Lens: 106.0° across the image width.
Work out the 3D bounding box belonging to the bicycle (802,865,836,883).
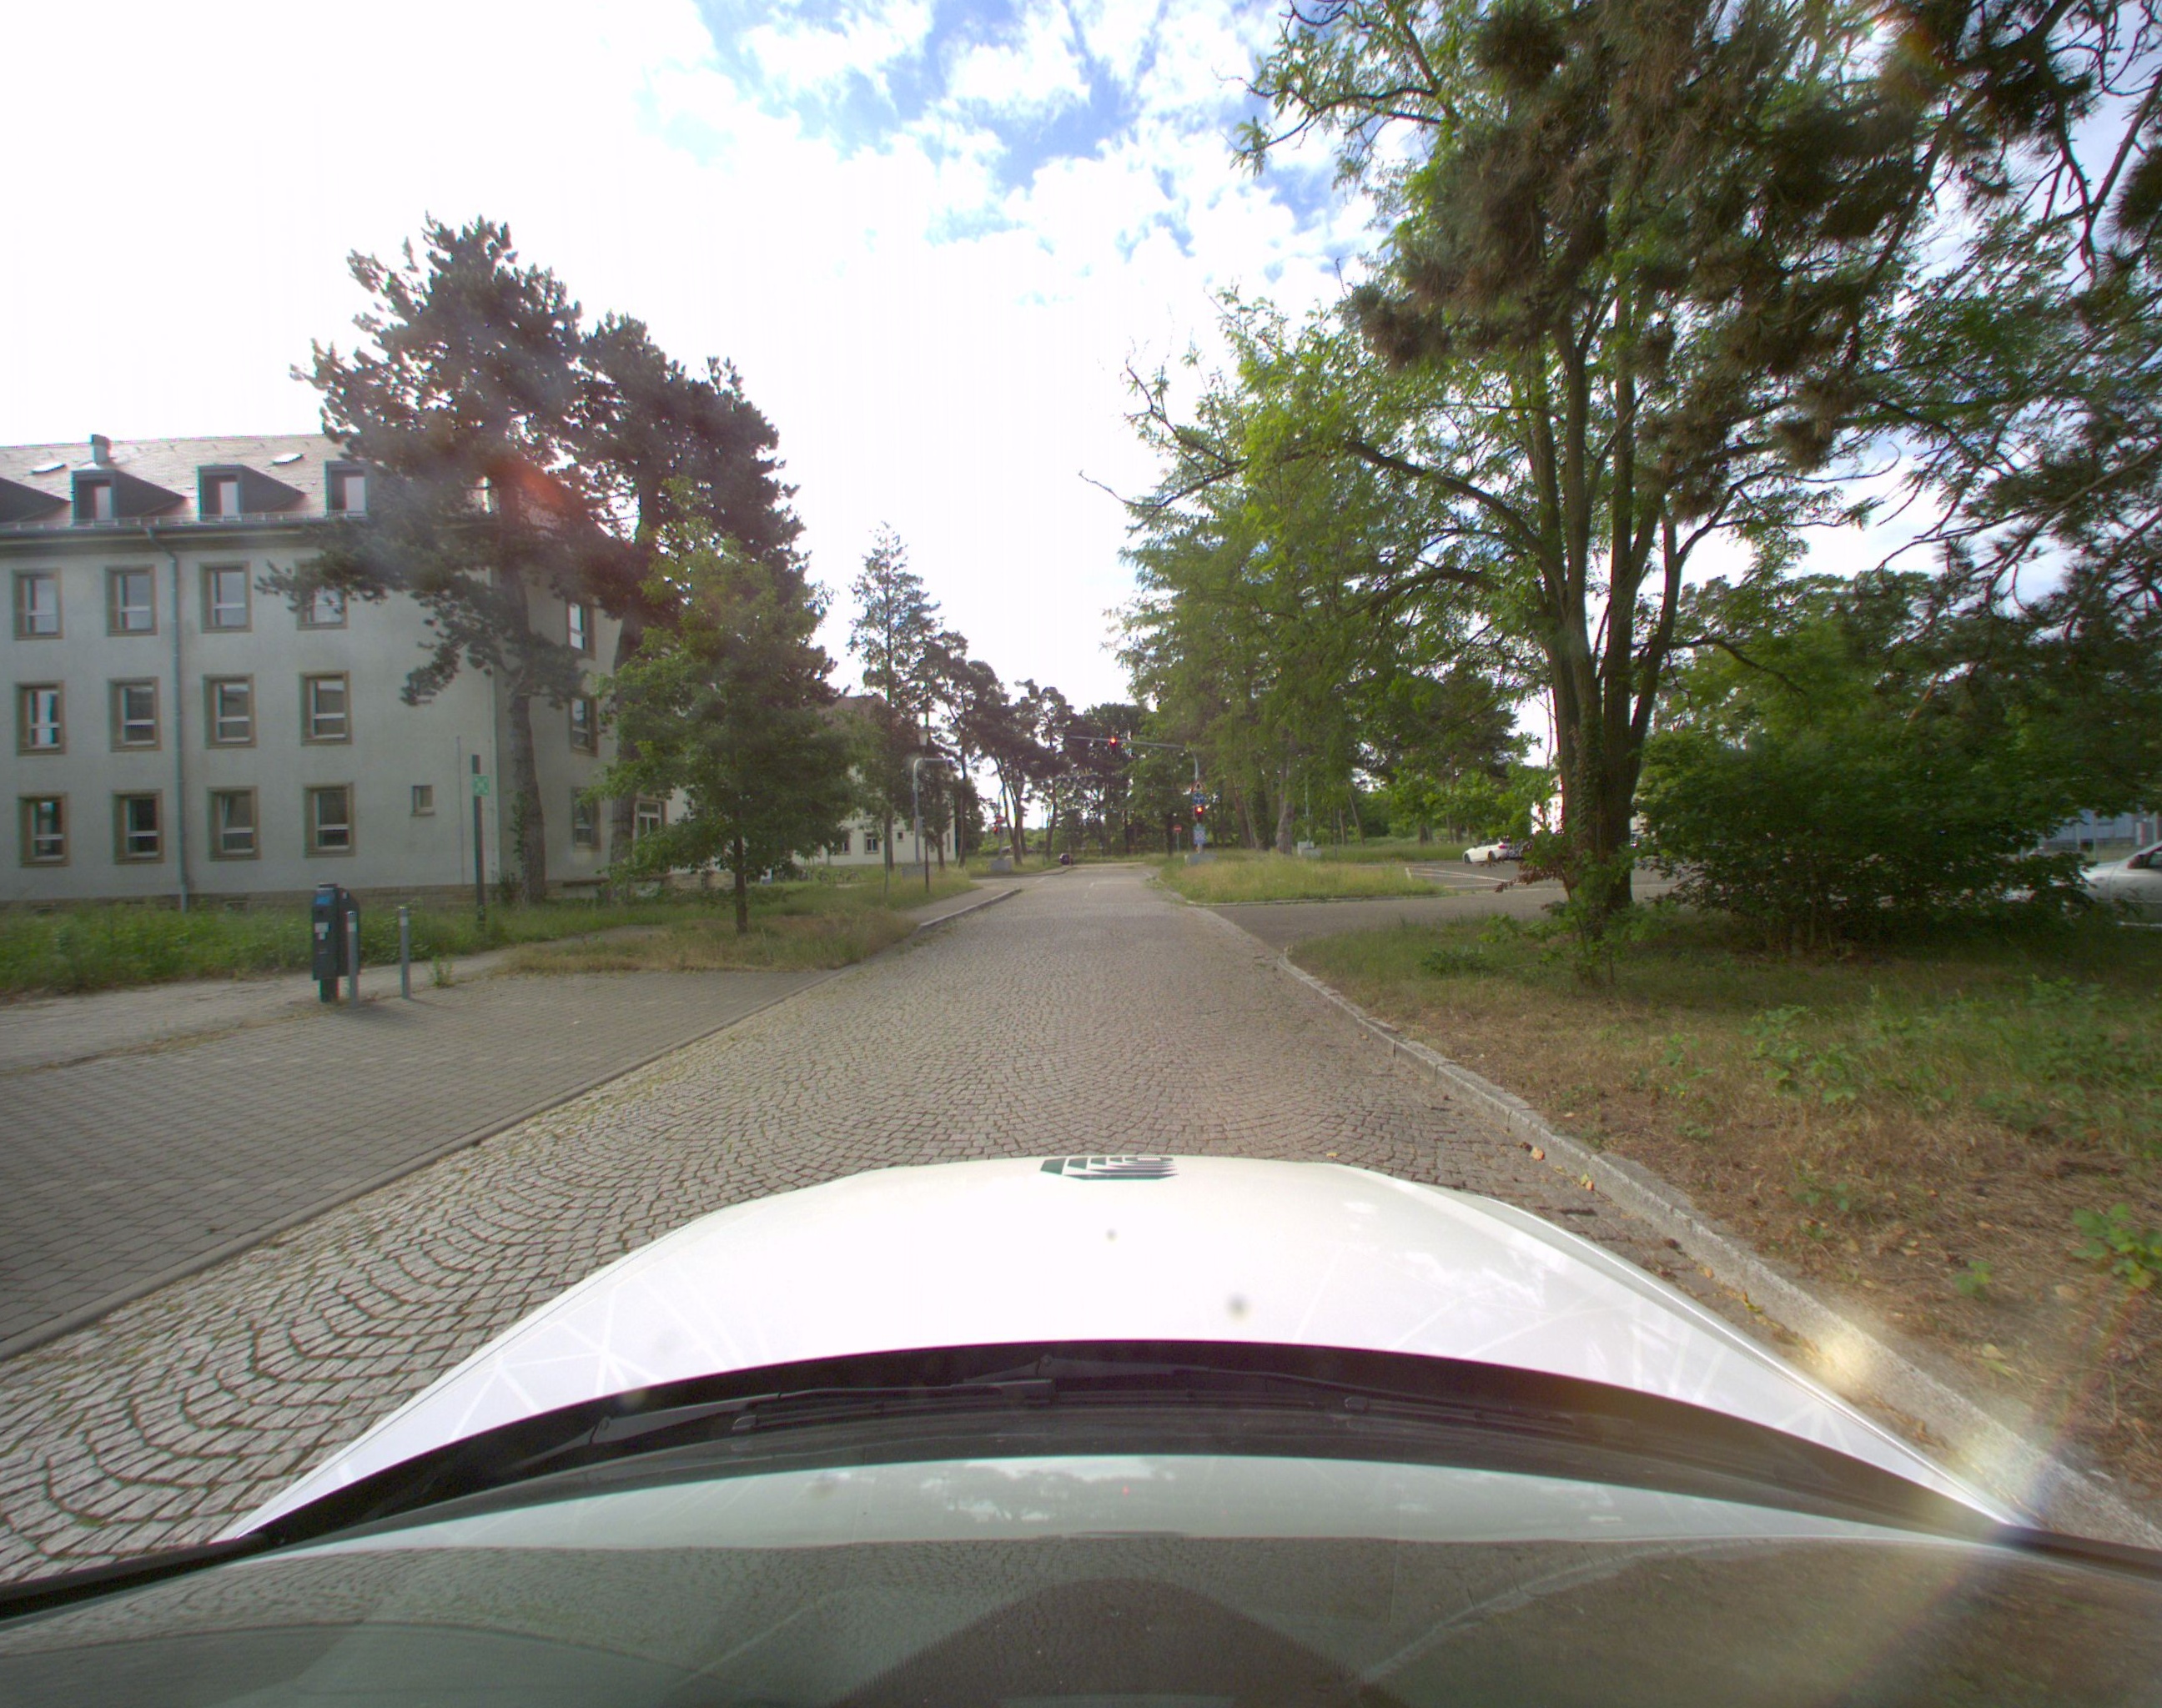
[{"bbox_3d":[-16.726,1.286,51.992,1.848,1.076,0.739,-2,0,3],"label":"bicycle"}]

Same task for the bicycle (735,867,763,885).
[{"bbox_3d":[-21.721,1.433,53.326,0.733,1.076,2.274,-2,0,2],"label":"bicycle"}]

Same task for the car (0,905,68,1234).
[{"bbox_3d":[-6.843,1.013,3.133,3.748,1.478,1.854,-1,0,4],"label":"car"}]

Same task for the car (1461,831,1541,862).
[{"bbox_3d":[23.021,-0.383,44.874,1.988,1.481,4.422,-2,-1,-2],"label":"car"}]

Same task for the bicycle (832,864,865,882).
[{"bbox_3d":[-14.843,1.228,51.985,1.848,1.076,0.832,-2,0,3],"label":"bicycle"}]

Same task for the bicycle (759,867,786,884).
[{"bbox_3d":[-20.332,1.412,53.715,0.733,1.076,2.274,-2,0,2],"label":"bicycle"}]

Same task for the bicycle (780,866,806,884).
[{"bbox_3d":[-18.807,1.375,53.213,0.733,1.076,2.274,-2,0,2],"label":"bicycle"}]

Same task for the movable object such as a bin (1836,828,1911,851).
[{"bbox_3d":[31.409,-0.553,32.309,1.179,0.825,1.957,-2,0,6],"label":"movable object such as a bin"}]

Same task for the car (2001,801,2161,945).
[{"bbox_3d":[11.519,0.200,7.461,1.640,1.427,4.074,1,0,1],"label":"car"}]

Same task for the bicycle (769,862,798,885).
[{"bbox_3d":[-19.541,1.252,53.586,0.733,1.385,2.713,-2,0,2],"label":"bicycle"}]

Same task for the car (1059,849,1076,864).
[{"bbox_3d":[-1.830,0.305,109.049,2.048,1.846,4.001,-2,0,1],"label":"car"}]

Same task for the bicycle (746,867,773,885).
[{"bbox_3d":[-20.994,1.410,53.237,0.733,1.076,2.274,-2,0,2],"label":"bicycle"}]

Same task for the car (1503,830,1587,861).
[{"bbox_3d":[25.536,-0.412,44.994,1.988,1.481,4.422,-2,-1,-2],"label":"car"}]

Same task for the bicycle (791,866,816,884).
[{"bbox_3d":[-18.165,1.345,53.278,0.733,1.076,2.274,-2,0,2],"label":"bicycle"}]
